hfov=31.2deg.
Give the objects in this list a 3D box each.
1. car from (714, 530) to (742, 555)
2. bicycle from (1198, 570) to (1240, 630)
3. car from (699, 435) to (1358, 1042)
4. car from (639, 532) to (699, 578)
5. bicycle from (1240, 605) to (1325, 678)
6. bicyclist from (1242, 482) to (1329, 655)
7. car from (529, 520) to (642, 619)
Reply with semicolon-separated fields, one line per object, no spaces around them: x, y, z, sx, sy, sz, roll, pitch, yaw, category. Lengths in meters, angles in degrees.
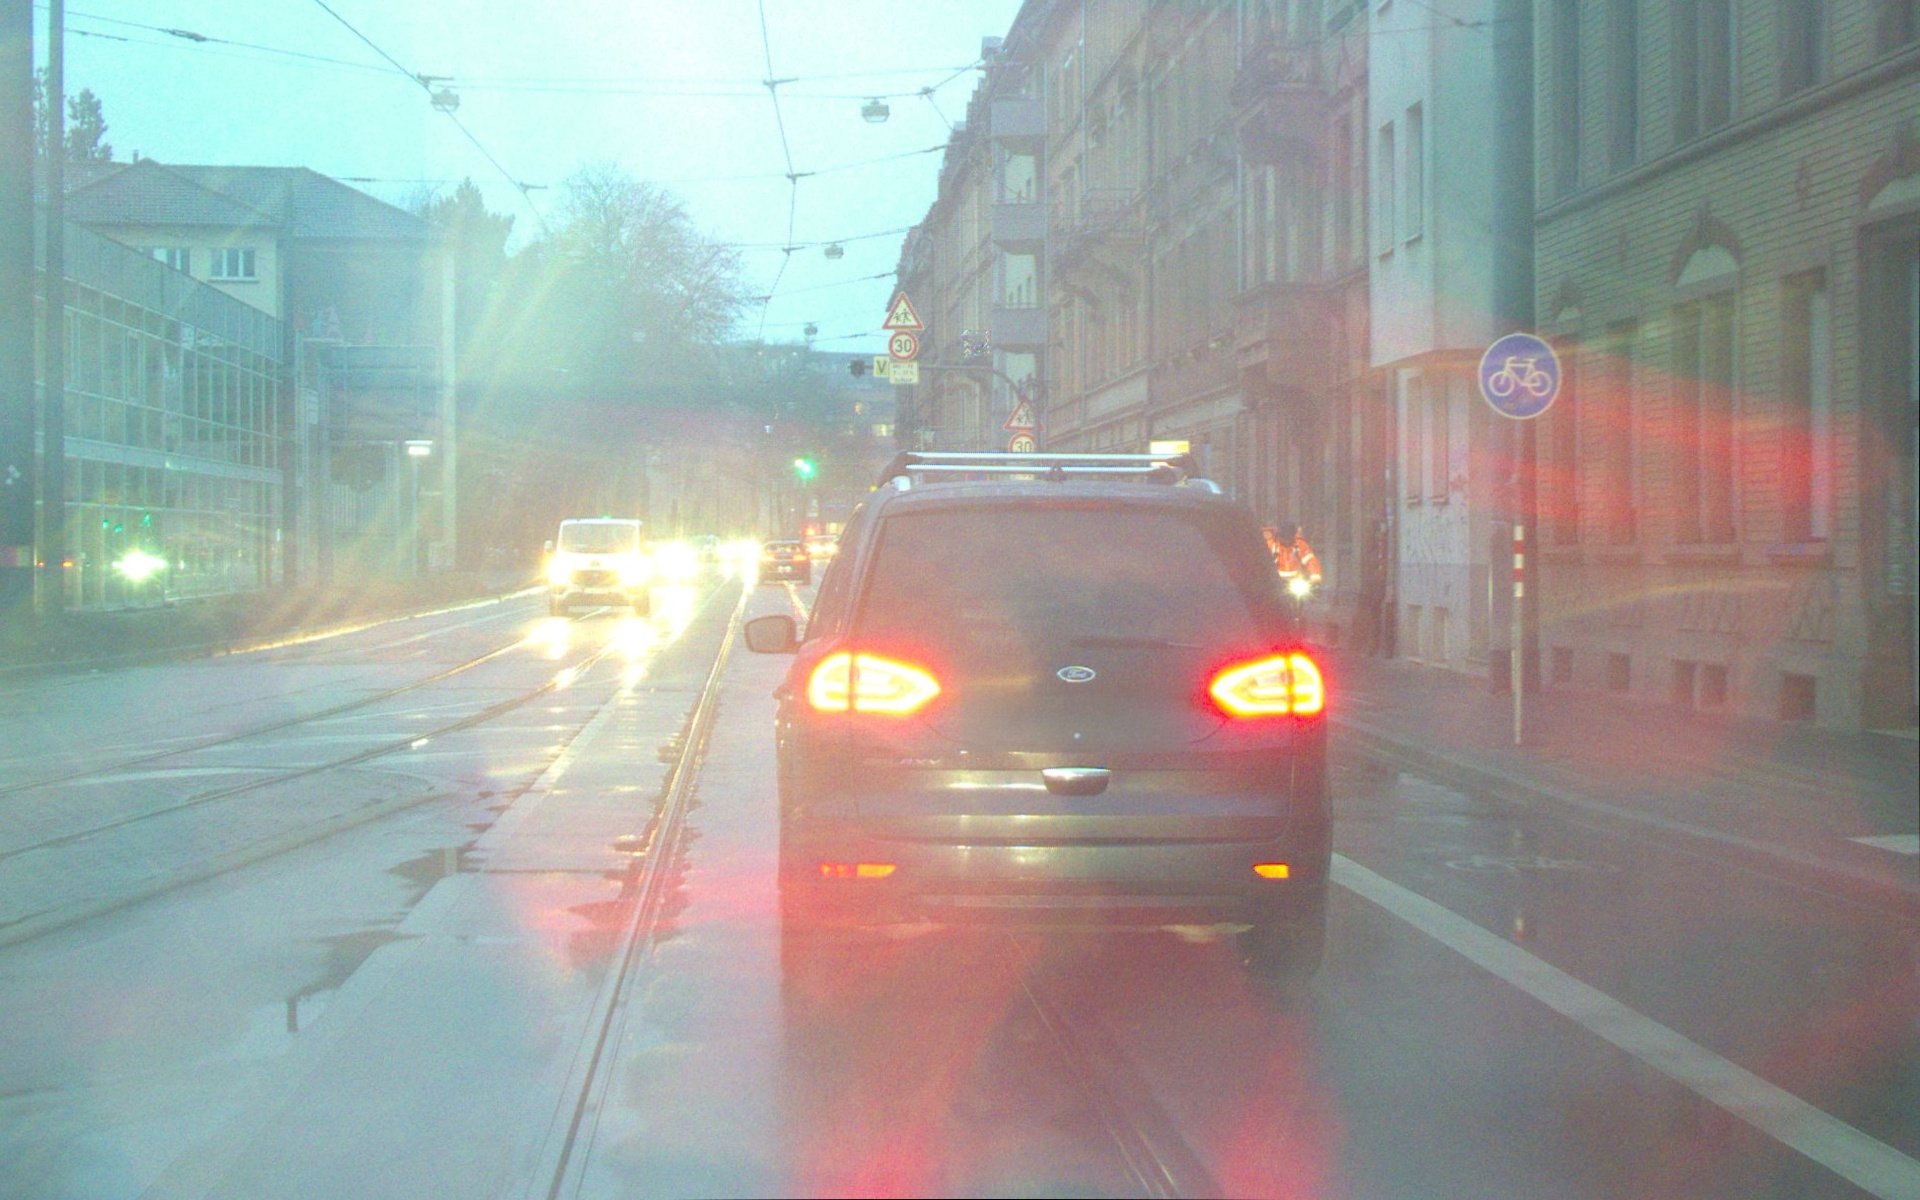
-16.120;-3.997;238.839;1.875;1.704;4.761;-1;1;-4;car
4.072;-0.002;54.154;0.397;0.908;1.867;0;1;-3;bicycle
0.191;0.389;12.417;1.993;1.835;4.000;0;1;0;car
-10.178;-1.598;120.623;1.841;1.573;4.443;0;1;-2;car
3.546;0.444;37.884;0.608;0.758;1.861;0;1;-5;bicycle
3.582;-0.350;37.912;0.745;1.873;1.112;0;1;-5;bicyclist
-7.799;-0.642;71.994;1.993;2.007;4.685;1;1;-2;car
